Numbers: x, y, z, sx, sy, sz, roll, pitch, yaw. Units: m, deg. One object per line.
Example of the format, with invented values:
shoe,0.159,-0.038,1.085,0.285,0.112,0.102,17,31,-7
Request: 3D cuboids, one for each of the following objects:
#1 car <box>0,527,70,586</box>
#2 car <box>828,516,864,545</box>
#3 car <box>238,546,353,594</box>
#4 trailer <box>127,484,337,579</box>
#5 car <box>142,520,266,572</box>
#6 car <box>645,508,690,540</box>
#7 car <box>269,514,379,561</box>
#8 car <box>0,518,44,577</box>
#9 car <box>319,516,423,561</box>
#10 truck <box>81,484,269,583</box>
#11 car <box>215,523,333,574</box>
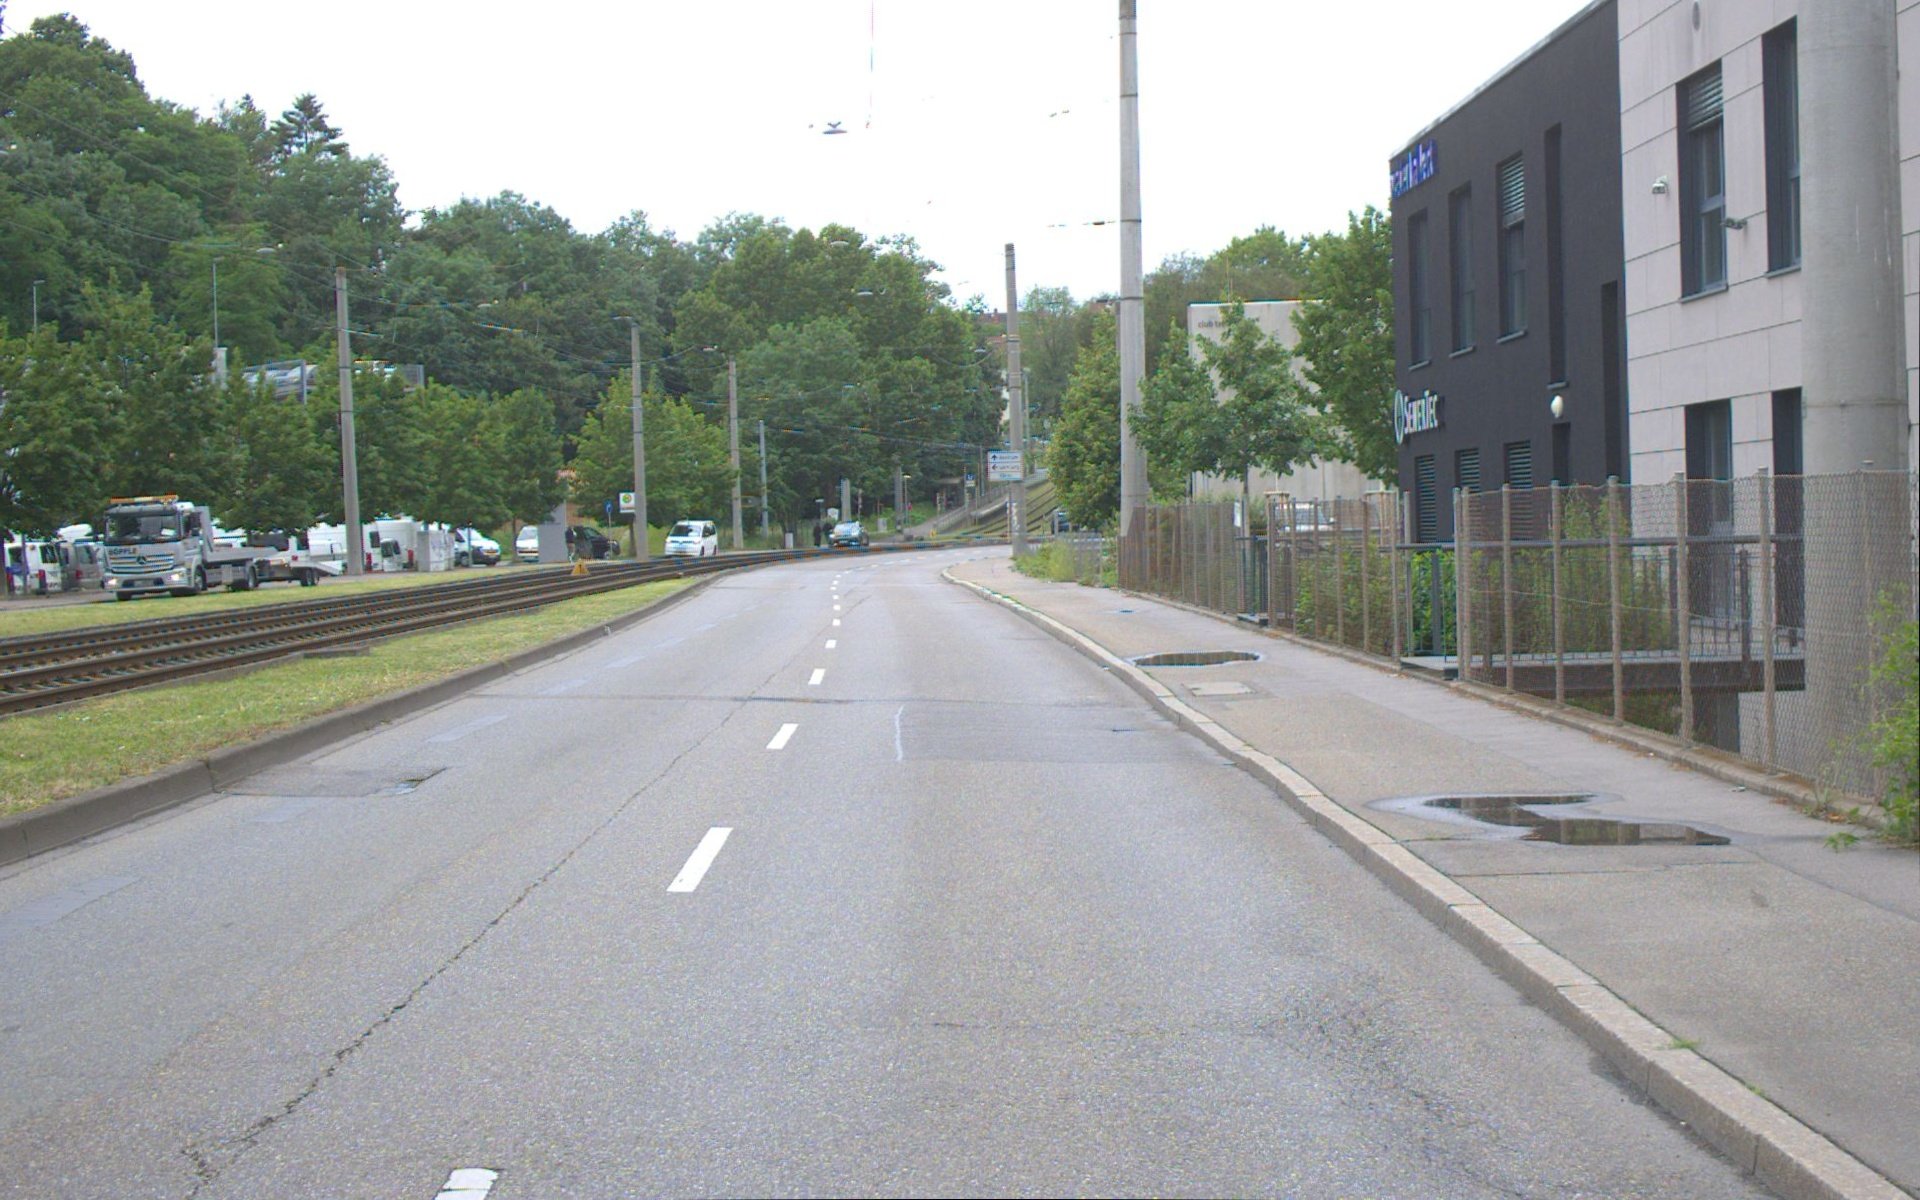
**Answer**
car,-29.369,-1.309,104.624,3.988,1.700,1.834,-1,2,6
car,-6.629,-4.059,200.188,1.993,1.634,4.000,-1,1,-1
car,-25.872,-1.160,133.985,3.988,1.700,1.834,-1,2,6
trailer,-20.991,-2.012,99.819,2.893,2.574,9.992,-1,1,7
car,-27.470,-1.962,124.983,3.988,1.700,1.833,-1,-2,6
car,-15.080,-3.925,177.247,1.993,1.634,4.000,-1,1,-1
car,-25.709,-2.503,139.028,3.988,1.700,1.833,-1,-2,6
car,-29.510,-1.524,102.115,3.988,1.700,1.833,-1,1,6
car,-25.136,-2.629,146.725,3.988,1.700,1.833,-1,-2,6
truck,-21.561,-1.852,94.782,2.884,2.580,6.910,-1,1,7
car,-25.661,-1.919,128.662,3.988,1.700,1.833,-1,-2,6
